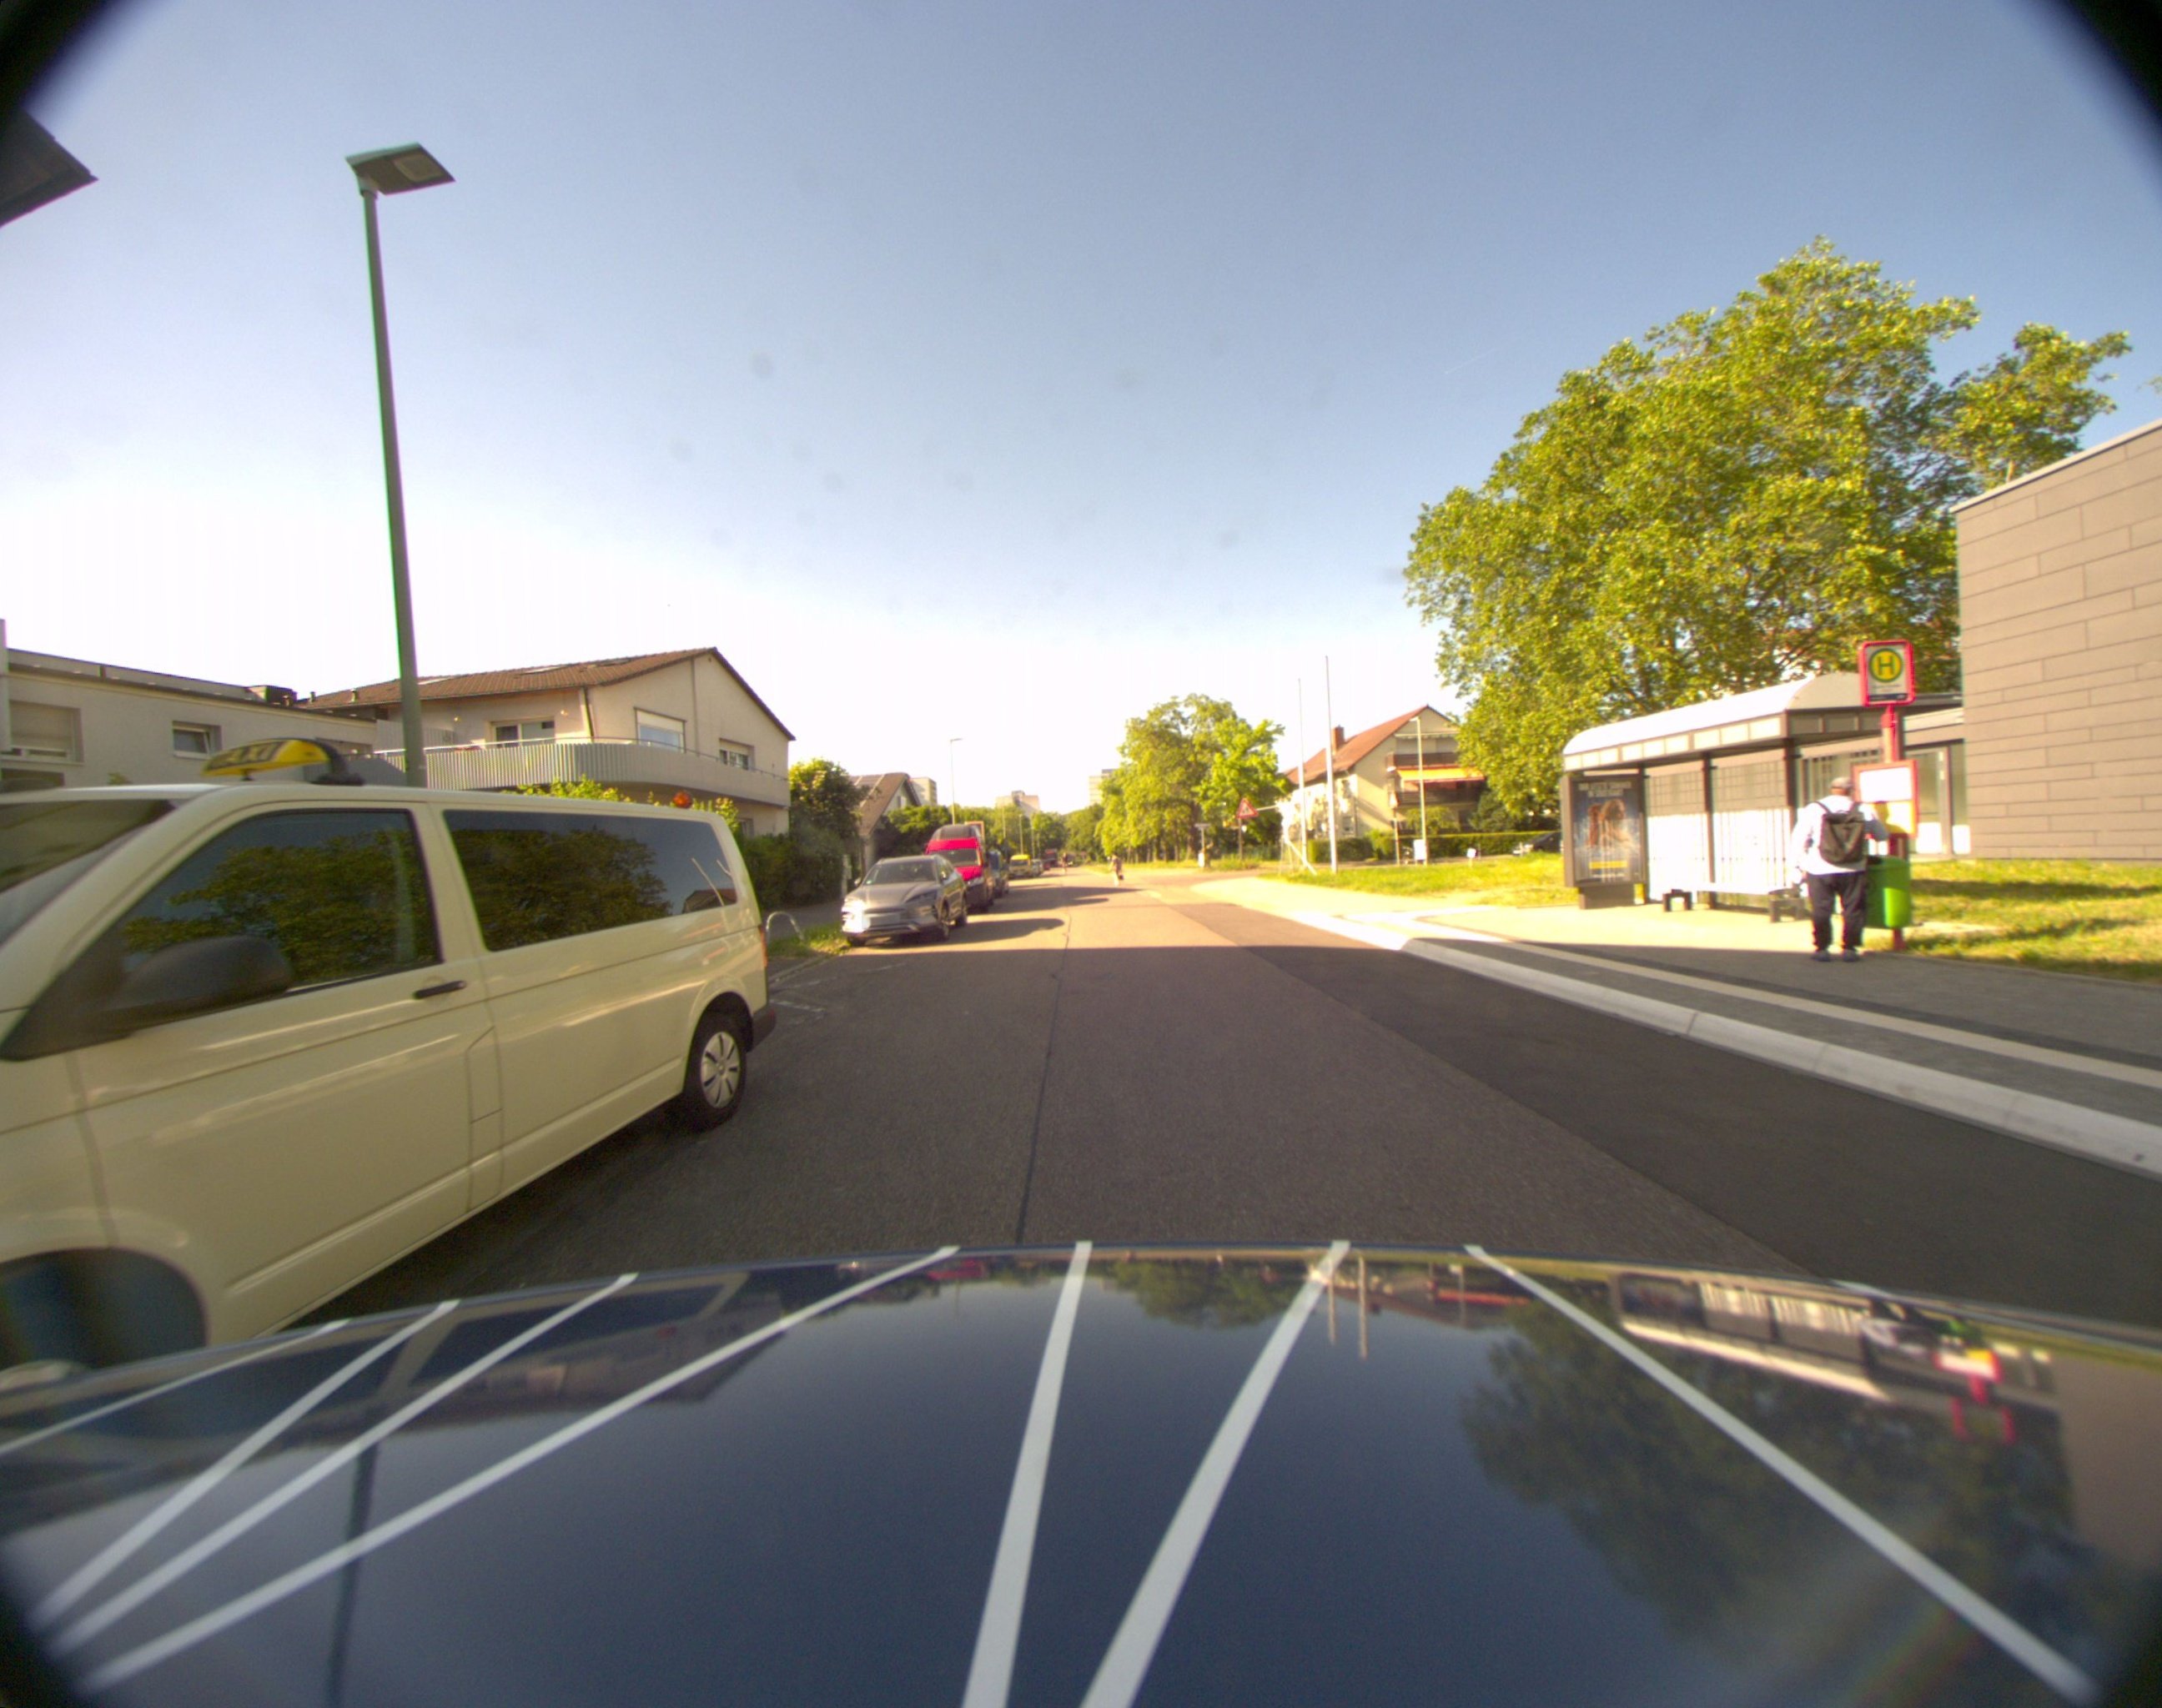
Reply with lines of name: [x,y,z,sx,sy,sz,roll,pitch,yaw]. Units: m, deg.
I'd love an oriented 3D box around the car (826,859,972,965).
car: [-3.556,1.038,15.802,1.962,1.728,4.575,-3,0,-2]

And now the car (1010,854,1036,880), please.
car: [-4.273,0.954,56.432,1.621,1.766,3.981,-3,0,-1]

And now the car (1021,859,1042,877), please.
car: [-4.412,1.210,68.070,1.621,1.478,3.981,-3,0,-1]

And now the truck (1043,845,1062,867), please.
truck: [-6.142,0.439,166.931,3.602,4.544,10.022,-3,0,-1]

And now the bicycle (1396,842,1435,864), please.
bicycle: [16.170,-0.062,36.772,1.598,0.979,0.500,-3,1,15]

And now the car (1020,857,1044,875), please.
car: [-4.707,1.181,73.808,1.999,1.587,4.577,-3,0,-1]

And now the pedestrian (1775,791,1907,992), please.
pedestrian: [7.218,0.339,7.261,0.716,1.792,0.772,-5,0,39]

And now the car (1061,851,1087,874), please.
car: [-0.699,0.762,69.678,1.966,1.908,4.575,-3,1,-5]

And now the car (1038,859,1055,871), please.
car: [-5.067,1.626,111.990,1.998,1.587,4.578,-3,0,1]

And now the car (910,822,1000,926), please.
car: [-3.621,0.534,22.752,1.962,2.629,5.221,-4,0,-4]

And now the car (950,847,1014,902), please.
car: [-3.772,0.732,29.658,1.862,1.837,4.559,-5,0,-1]

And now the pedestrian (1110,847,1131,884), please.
pedestrian: [1.756,0.503,33.688,0.835,1.578,0.632,1,3,15]

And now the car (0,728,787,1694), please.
car: [-3.273,0.782,3.167,1.998,2.067,4.578,-3,1,3]

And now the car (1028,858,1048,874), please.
car: [-4.850,1.342,85.906,1.999,1.587,4.577,-3,0,-1]
